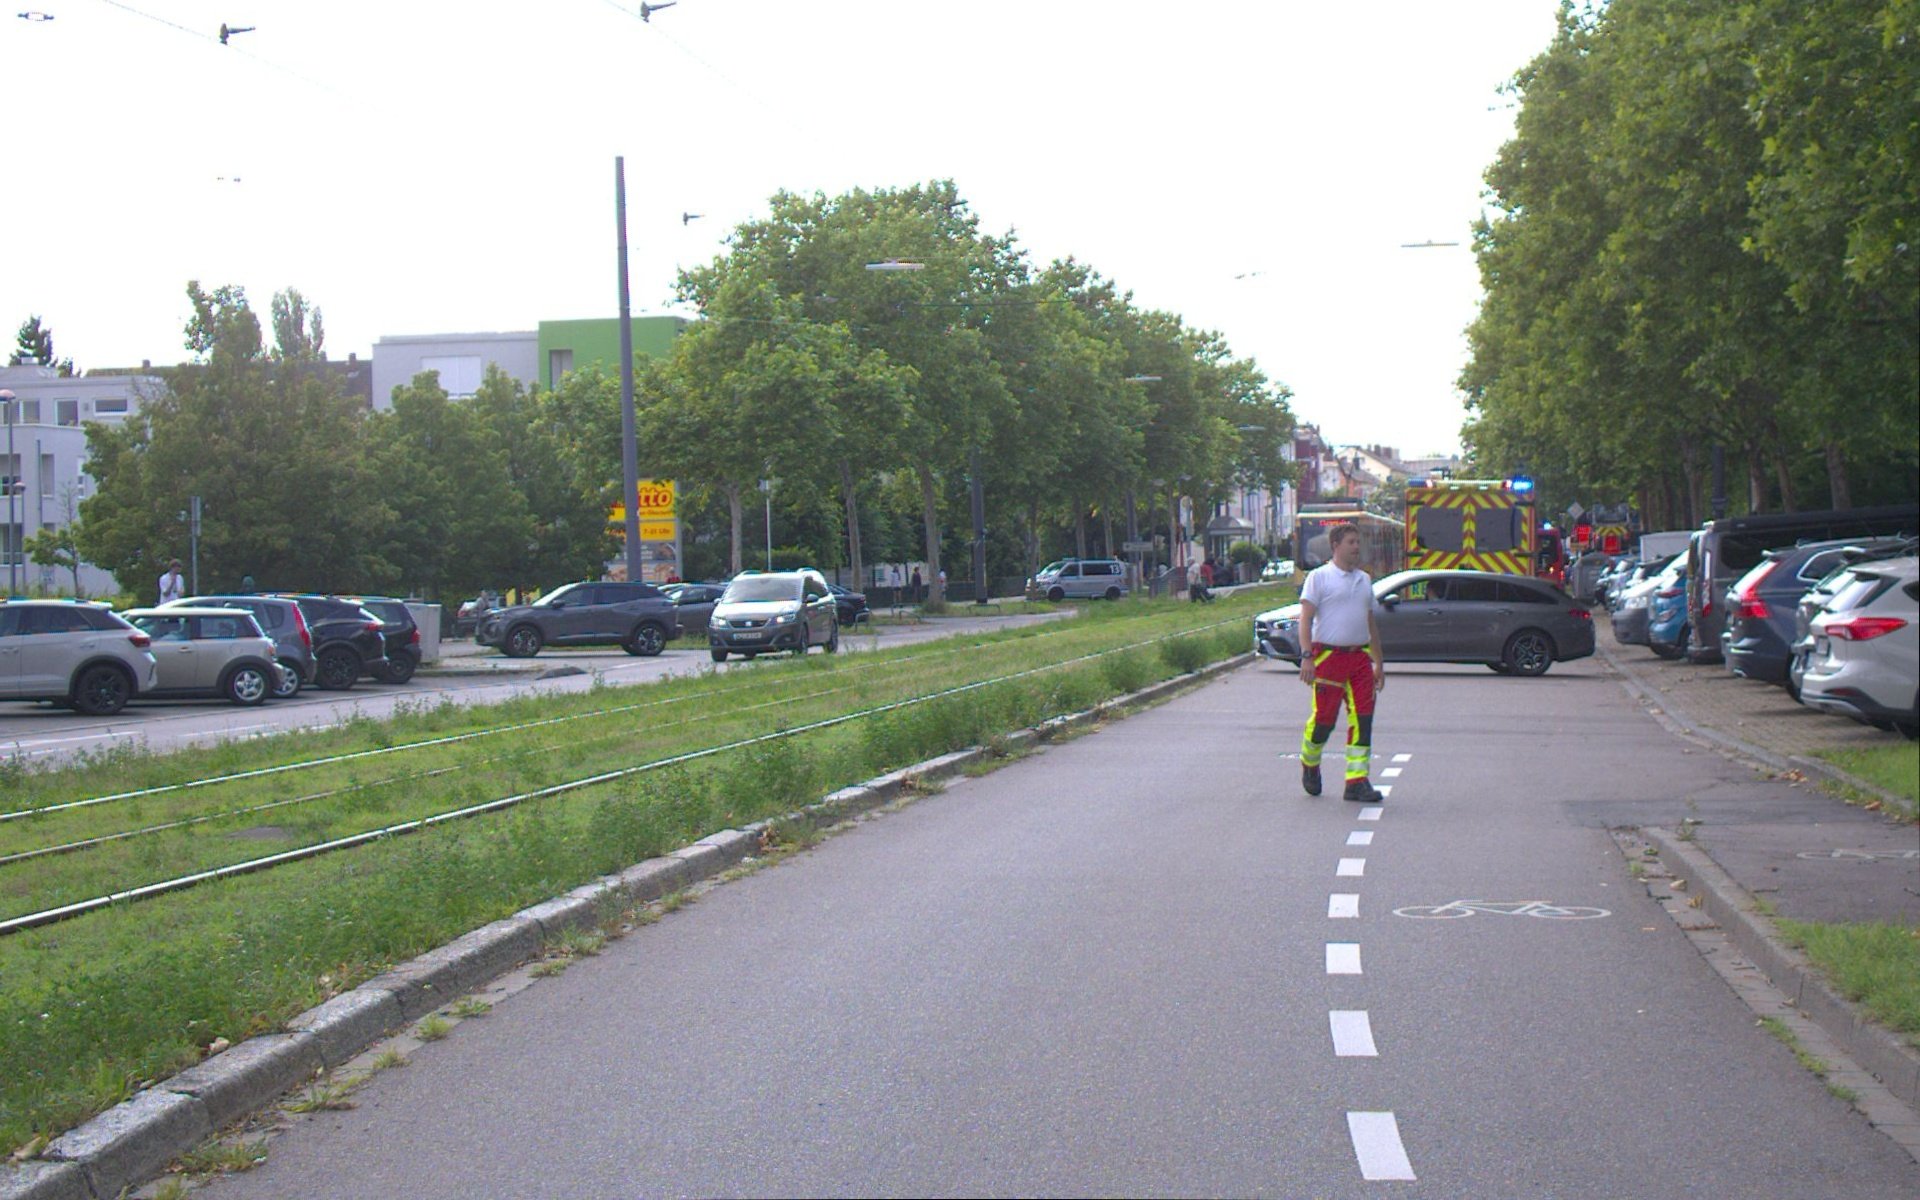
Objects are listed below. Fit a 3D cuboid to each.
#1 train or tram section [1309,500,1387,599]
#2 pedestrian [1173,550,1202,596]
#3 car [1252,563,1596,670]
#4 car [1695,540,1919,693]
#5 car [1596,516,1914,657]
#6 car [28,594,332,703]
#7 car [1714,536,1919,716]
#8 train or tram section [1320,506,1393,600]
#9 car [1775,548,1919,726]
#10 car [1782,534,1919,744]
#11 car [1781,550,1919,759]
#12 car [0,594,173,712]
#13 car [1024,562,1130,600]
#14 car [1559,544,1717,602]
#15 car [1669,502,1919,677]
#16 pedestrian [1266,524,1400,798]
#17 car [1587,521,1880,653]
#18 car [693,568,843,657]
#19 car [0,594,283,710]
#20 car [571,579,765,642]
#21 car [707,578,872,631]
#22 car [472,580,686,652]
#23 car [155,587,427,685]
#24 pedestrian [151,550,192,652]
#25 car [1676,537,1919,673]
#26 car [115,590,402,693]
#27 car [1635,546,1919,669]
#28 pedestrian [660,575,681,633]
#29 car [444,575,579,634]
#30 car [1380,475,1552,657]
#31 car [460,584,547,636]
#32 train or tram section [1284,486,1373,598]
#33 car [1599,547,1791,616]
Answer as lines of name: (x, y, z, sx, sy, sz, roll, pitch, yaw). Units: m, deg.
train or tram section: (14.934, -1.871, 131.970, 2.512, 3.572, 7.442, -2, -1, 9)
pedestrian: (7.511, -0.893, 113.584, 0.881, 1.520, 0.750, 1, 0, 9)
car: (6.366, 0.215, 47.463, 4.453, 1.381, 1.767, 1, 1, -1)
car: (10.414, 0.142, 38.384, 3.965, 1.600, 1.756, -2, 0, -1)
car: (12.274, -0.211, 53.317, 4.546, 1.994, 1.855, -2, 0, 6)
car: (-11.749, 0.703, 51.743, 4.220, 1.477, 1.884, -2, 1, -20)
car: (9.521, 0.195, 32.984, 4.383, 1.634, 1.755, -2, 0, 11)
train or tram section: (16.094, -1.849, 139.281, 2.512, 3.572, 7.442, -2, -1, 9)
car: (9.486, 0.257, 30.273, 4.383, 1.496, 1.755, -2, 1, 11)
car: (9.144, 0.229, 27.687, 4.659, 1.620, 1.847, -2, 0, 6)
car: (8.615, 0.319, 25.513, 4.659, 1.468, 1.847, -2, 1, 6)
car: (-12.828, 0.721, 45.867, 4.220, 1.477, 1.884, -2, 1, -24)
car: (5.434, -0.878, 159.732, 4.612, 1.627, 1.883, -2, 0, -29)
car: (20.785, -0.831, 105.475, 4.546, 1.603, 1.855, -2, 0, 6)
car: (11.531, -0.164, 44.303, 4.547, 2.116, 1.855, -2, 0, 9)
pedestrian: (2.333, 0.372, 21.502, 0.803, 1.680, 0.851, 0, 0, 6)
car: (12.968, -0.218, 57.858, 4.546, 2.036, 1.855, -2, 0, 6)
car: (-3.672, 0.214, 66.513, 1.994, 1.552, 4.368, -2, 0, 8)
car: (-11.920, 0.721, 48.913, 4.220, 1.477, 1.884, -2, 1, -20)
car: (-6.964, 0.240, 82.091, 4.220, 1.477, 1.884, 0, 0, -26)
car: (-4.753, 0.115, 96.030, 4.221, 1.477, 1.883, 0, 0, -30)
car: (-7.992, 0.318, 71.969, 4.220, 1.477, 1.884, 0, 0, -15)
car: (-11.265, 0.584, 57.815, 4.220, 1.477, 1.884, -2, 1, -20)
pedestrian: (-14.195, 0.011, 61.902, 0.546, 1.822, 0.509, -1, 0, 8)
car: (12.429, 0.044, 48.148, 4.547, 1.760, 1.855, -2, 0, 9)
car: (-11.185, 0.642, 54.789, 4.220, 1.477, 1.884, -2, 1, -20)
car: (12.394, 0.099, 50.724, 4.546, 1.655, 1.855, -2, 0, 5)
pedestrian: (-8.542, 0.116, 101.431, 0.466, 1.671, 0.603, -1, 0, 8)
car: (-13.991, 0.127, 107.137, 3.997, 1.744, 1.995, 1, 1, 41)
car: (8.984, -0.598, 60.604, 2.642, 2.956, 6.296, 2, 1, 11)
car: (-16.202, 0.344, 122.187, 1.994, 1.744, 3.999, 1, 1, 9)
train or tram section: (12.627, -1.915, 117.277, 2.512, 3.572, 7.442, -2, -1, 9)
car: (18.663, -0.469, 87.496, 4.546, 1.603, 1.855, -2, 0, 6)
